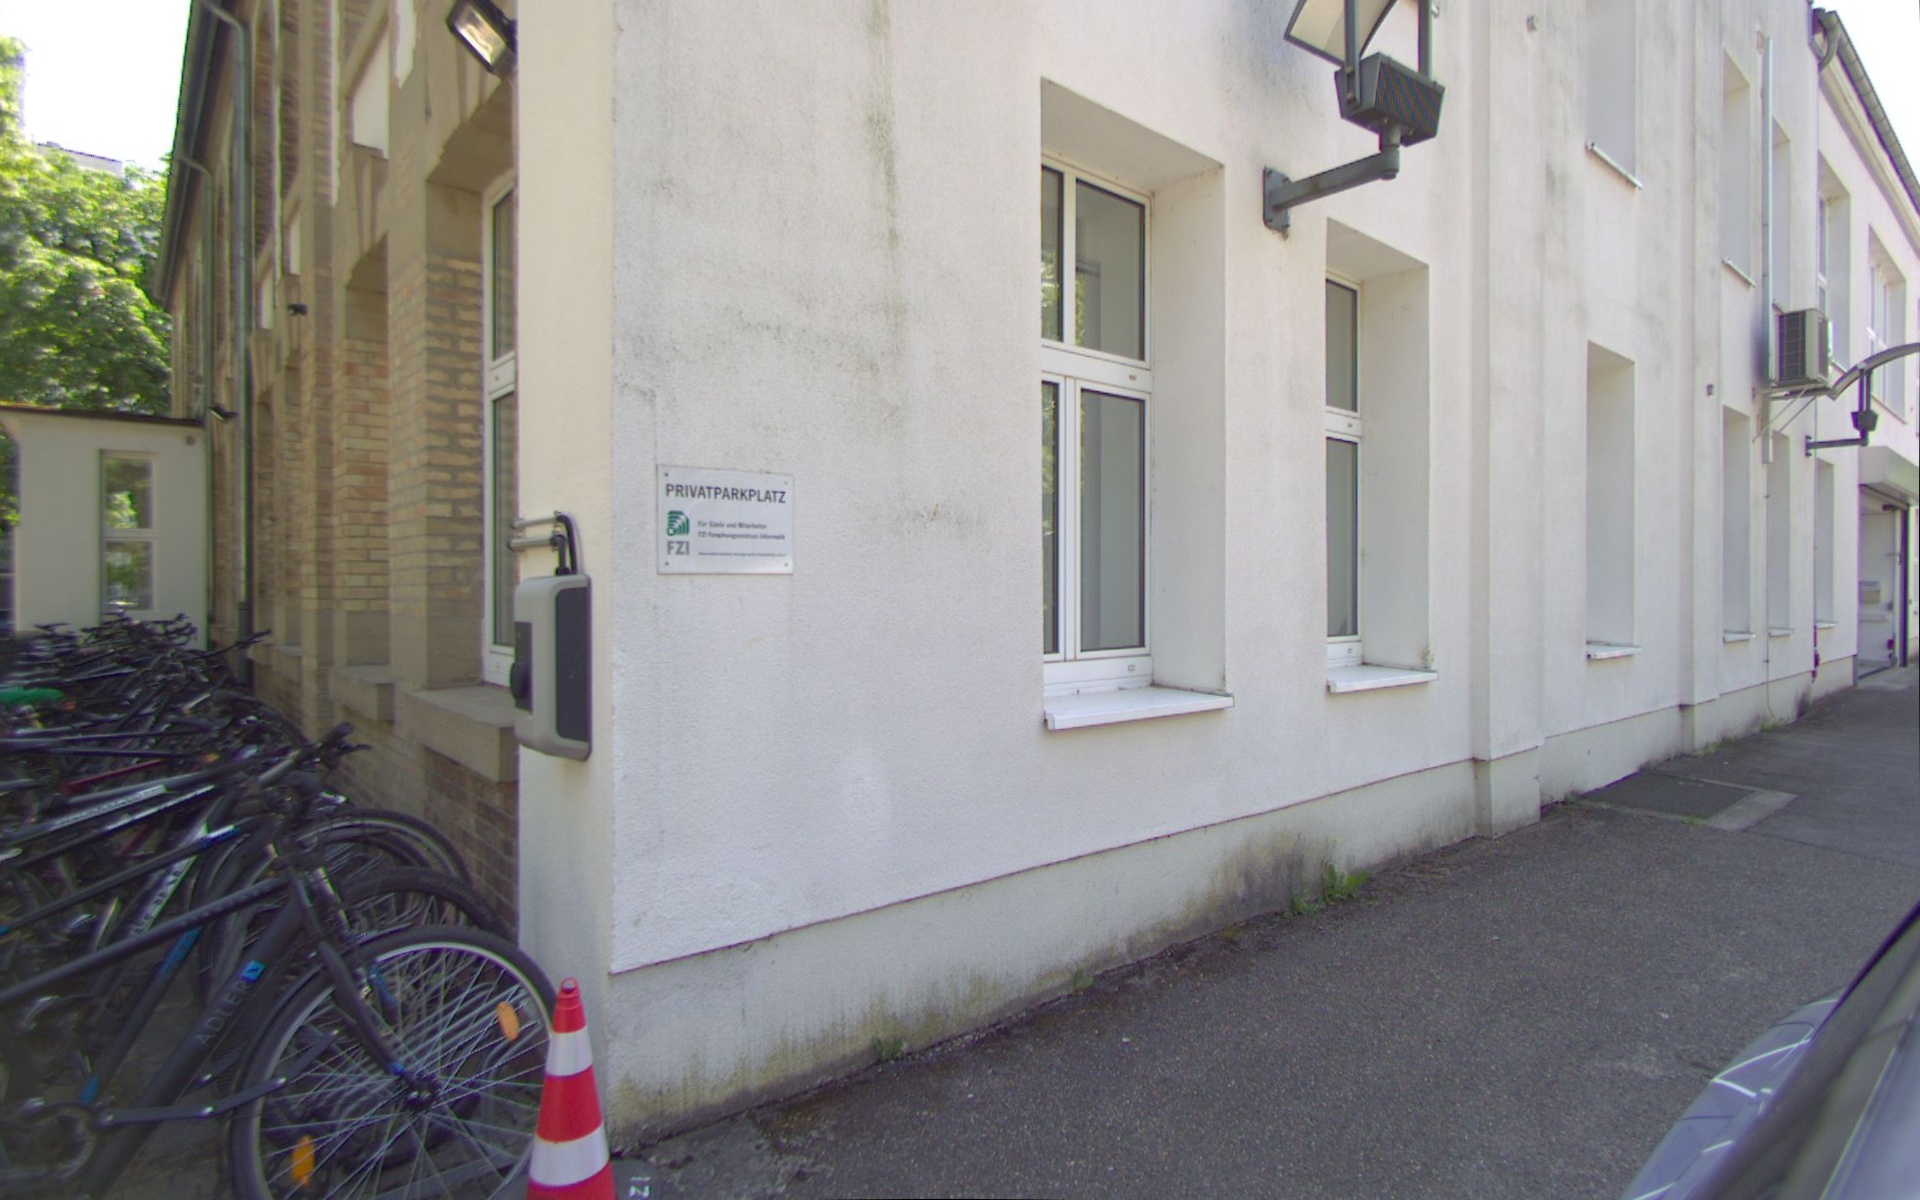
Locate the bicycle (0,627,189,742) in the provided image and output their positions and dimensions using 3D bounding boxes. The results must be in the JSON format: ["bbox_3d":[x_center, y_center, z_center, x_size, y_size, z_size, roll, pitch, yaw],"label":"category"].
[{"bbox_3d":[-9.521,0.892,10.994,1.794,1.115,0.406,-2,1,-40],"label":"bicycle"}]

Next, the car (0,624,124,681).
[{"bbox_3d":[-25.199,1.402,27.482,1.635,1.359,3.503,0,1,23],"label":"car"}]

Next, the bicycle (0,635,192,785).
[{"bbox_3d":[-7.458,0.894,8.324,1.794,1.115,0.406,-2,1,-40],"label":"bicycle"}]

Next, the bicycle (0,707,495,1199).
[{"bbox_3d":[-2.231,0.938,2.642,1.794,1.115,0.406,-2,1,-40],"label":"bicycle"}]

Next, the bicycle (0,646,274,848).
[{"bbox_3d":[-5.491,0.905,6.460,1.794,1.115,0.406,-2,1,-40],"label":"bicycle"}]

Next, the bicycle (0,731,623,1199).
[{"bbox_3d":[-1.590,0.921,1.892,1.794,1.115,0.406,-2,1,-40],"label":"bicycle"}]

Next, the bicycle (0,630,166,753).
[{"bbox_3d":[-9.110,0.904,10.142,1.794,1.115,0.406,-2,1,-40],"label":"bicycle"}]

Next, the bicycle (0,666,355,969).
[{"bbox_3d":[-3.744,0.922,4.460,1.794,1.115,0.406,-2,1,-40],"label":"bicycle"}]

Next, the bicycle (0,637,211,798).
[{"bbox_3d":[-6.974,0.896,7.888,1.794,1.115,0.406,-2,1,-40],"label":"bicycle"}]

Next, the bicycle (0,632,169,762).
[{"bbox_3d":[-8.621,0.909,9.556,1.794,1.115,0.406,-2,1,-40],"label":"bicycle"}]

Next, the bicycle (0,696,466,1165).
[{"bbox_3d":[-2.491,0.934,2.997,1.794,1.115,0.406,-2,1,-40],"label":"bicycle"}]

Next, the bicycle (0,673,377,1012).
[{"bbox_3d":[-3.379,0.926,4.017,1.794,1.115,0.406,-2,1,-40],"label":"bicycle"}]

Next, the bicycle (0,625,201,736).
[{"bbox_3d":[-9.819,0.884,11.575,1.794,1.115,0.406,-2,1,-40],"label":"bicycle"}]

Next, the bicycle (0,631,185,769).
[{"bbox_3d":[-8.142,0.887,9.133,1.794,1.115,0.406,-2,1,-40],"label":"bicycle"}]

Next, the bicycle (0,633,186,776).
[{"bbox_3d":[-7.817,0.891,8.723,1.794,1.115,0.406,-2,1,-40],"label":"bicycle"}]

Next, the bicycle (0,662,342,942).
[{"bbox_3d":[-4.017,0.918,4.808,1.794,1.115,0.406,-2,1,-40],"label":"bicycle"}]

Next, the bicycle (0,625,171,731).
[{"bbox_3d":[-10.401,0.887,11.859,1.794,1.115,0.406,-2,1,-40],"label":"bicycle"}]

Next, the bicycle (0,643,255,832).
[{"bbox_3d":[-5.901,0.902,6.864,1.794,1.115,0.406,-2,1,-40],"label":"bicycle"}]

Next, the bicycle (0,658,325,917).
[{"bbox_3d":[-4.318,0.916,5.144,1.794,1.115,0.406,-2,1,-40],"label":"bicycle"}]

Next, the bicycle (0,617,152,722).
[{"bbox_3d":[-11.059,0.843,12.353,1.795,1.115,0.406,-5,3,-40],"label":"bicycle"}]

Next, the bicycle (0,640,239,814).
[{"bbox_3d":[-6.384,0.898,7.387,1.794,1.115,0.406,-2,1,-40],"label":"bicycle"}]

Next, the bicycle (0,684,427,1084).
[{"bbox_3d":[-2.874,0.930,3.474,1.794,1.115,0.406,-2,1,-40],"label":"bicycle"}]

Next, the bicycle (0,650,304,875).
[{"bbox_3d":[-4.931,0.908,5.918,1.794,1.115,0.406,-2,1,-40],"label":"bicycle"}]

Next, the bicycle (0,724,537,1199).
[{"bbox_3d":[-1.927,0.942,2.222,1.794,1.115,0.406,-2,1,-40],"label":"bicycle"}]

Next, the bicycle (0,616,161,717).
[{"bbox_3d":[-11.451,0.835,12.993,1.795,1.115,0.406,-5,3,-40],"label":"bicycle"}]
